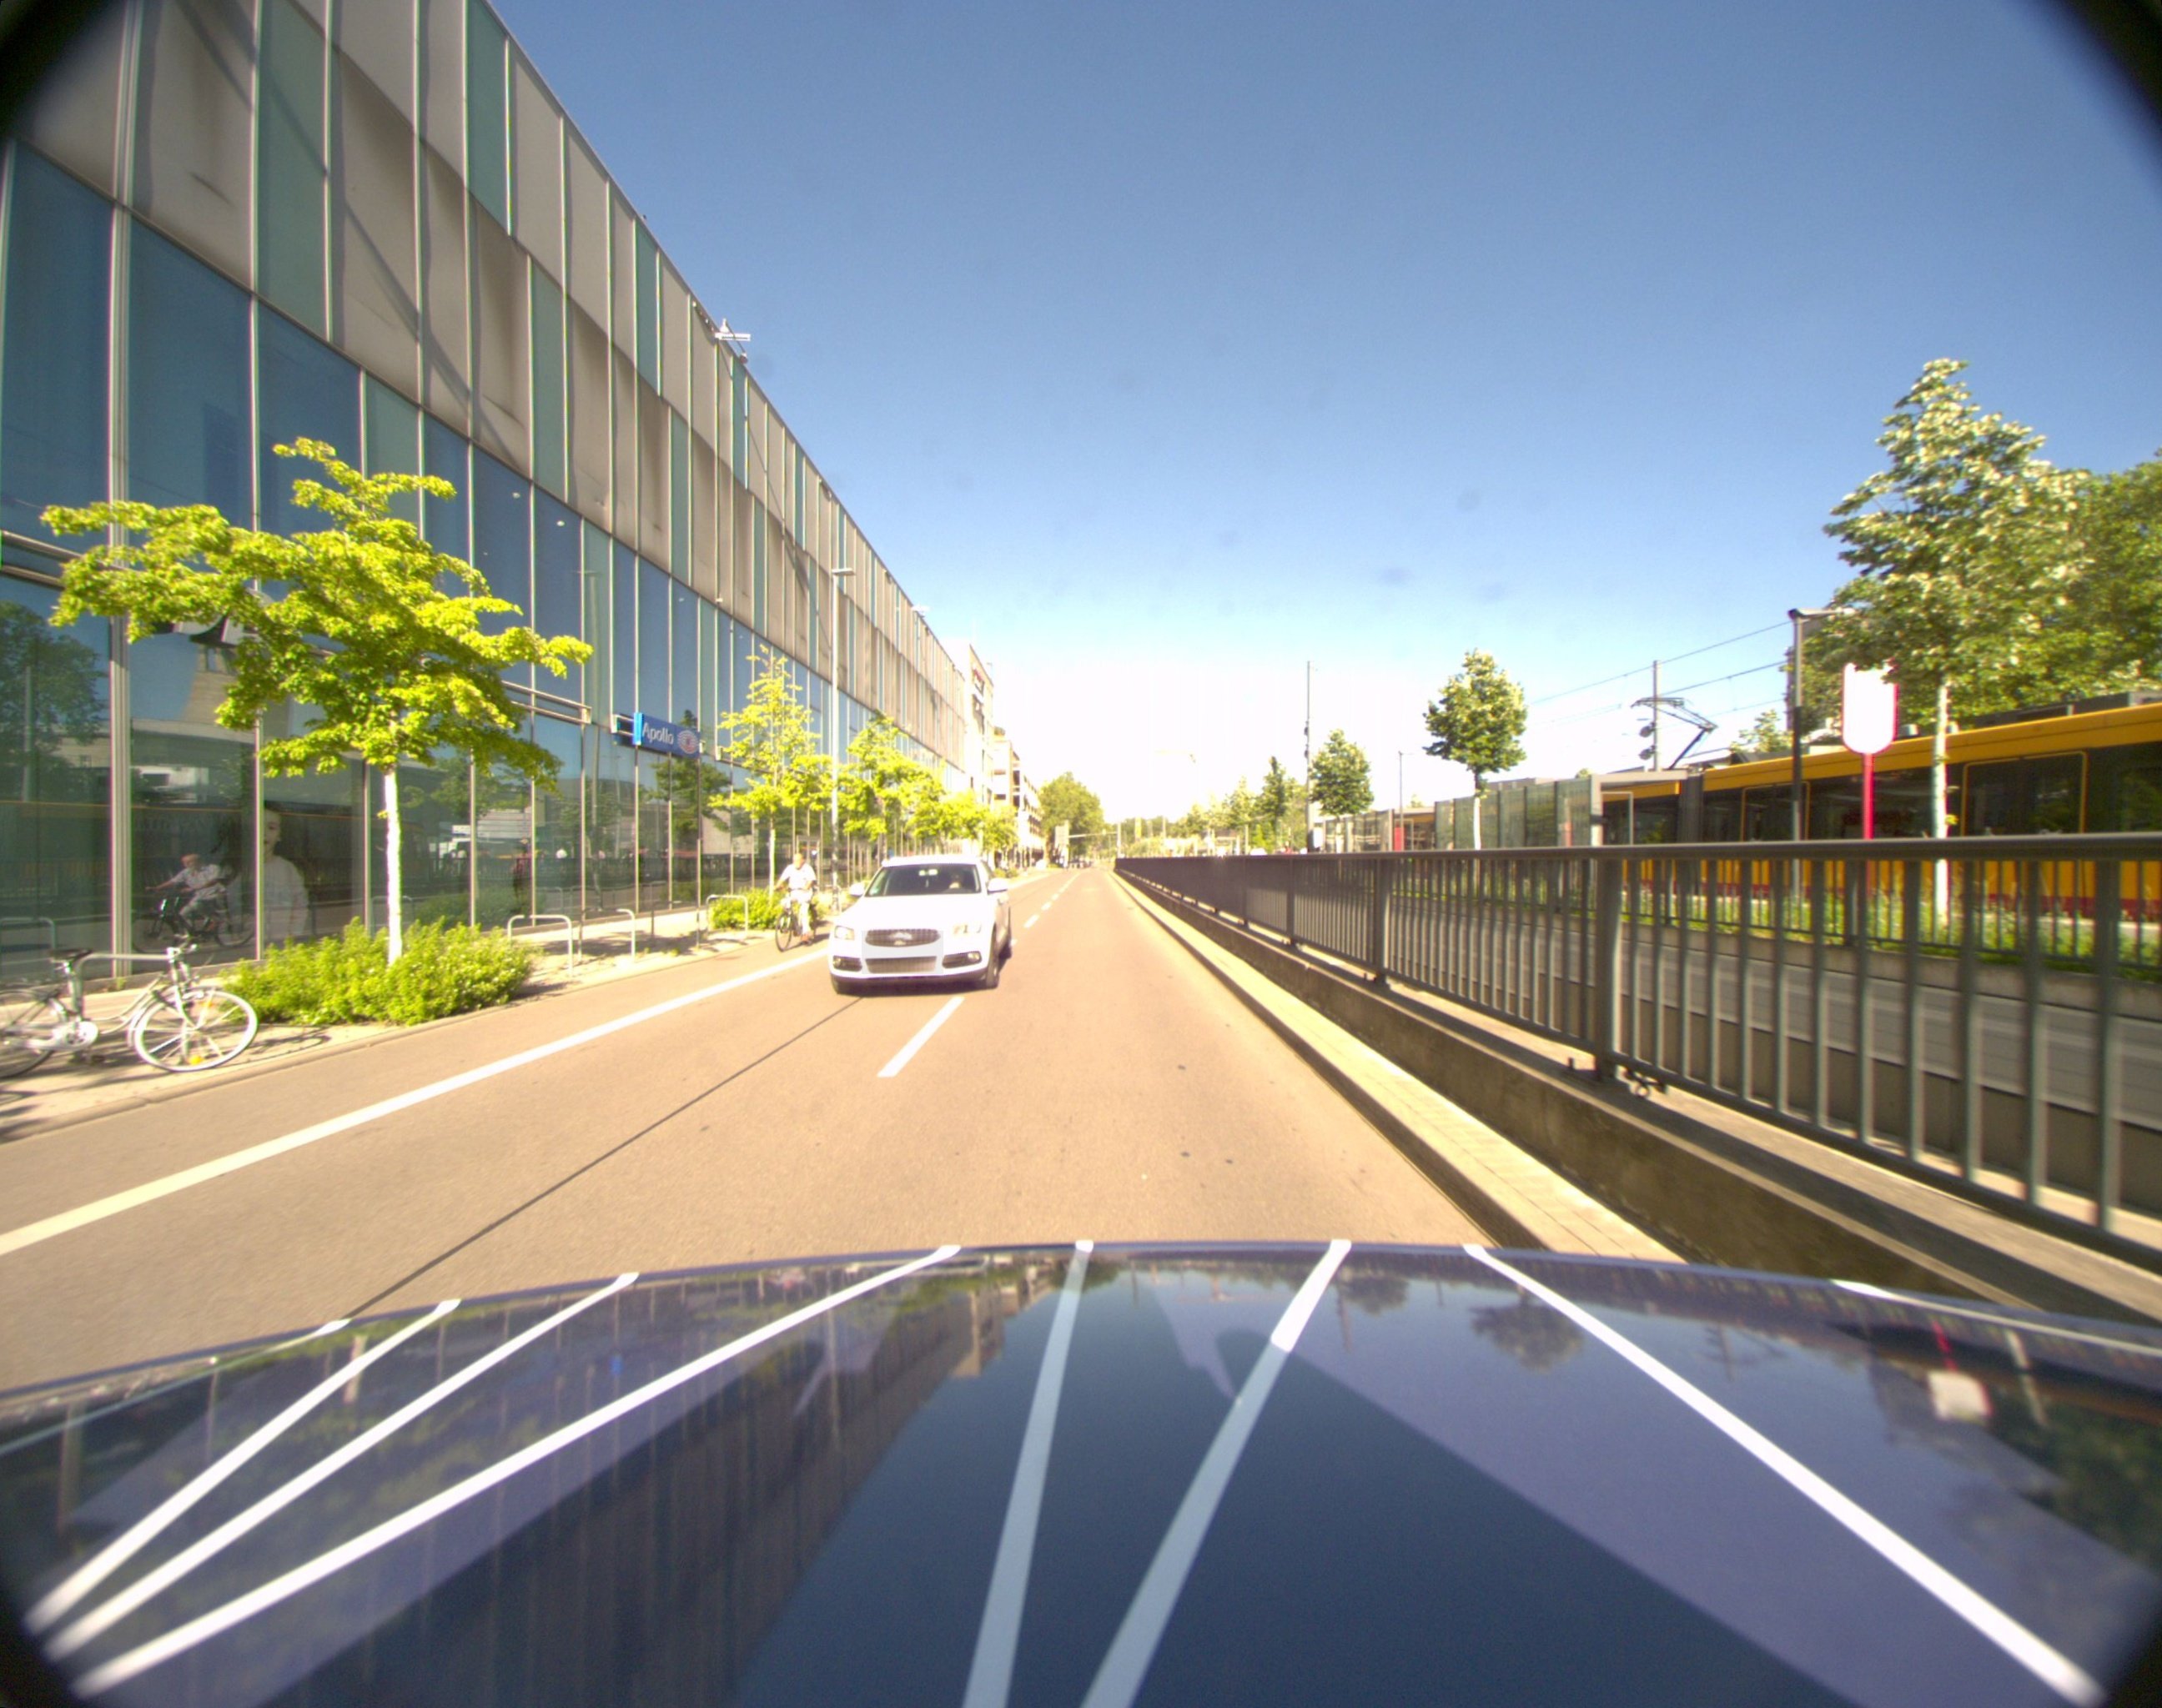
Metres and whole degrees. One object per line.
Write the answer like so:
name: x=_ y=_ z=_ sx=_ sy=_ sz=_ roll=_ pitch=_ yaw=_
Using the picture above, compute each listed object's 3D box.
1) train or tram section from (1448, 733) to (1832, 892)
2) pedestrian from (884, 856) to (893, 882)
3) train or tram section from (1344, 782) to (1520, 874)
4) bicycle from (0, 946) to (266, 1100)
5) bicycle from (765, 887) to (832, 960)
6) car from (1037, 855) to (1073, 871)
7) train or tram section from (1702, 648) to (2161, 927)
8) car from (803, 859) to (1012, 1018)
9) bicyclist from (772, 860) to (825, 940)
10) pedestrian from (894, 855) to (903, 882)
train or tram section: x=15.788 y=-0.976 z=23.688 sx=2.822 sy=3.617 sz=12.789 roll=0 pitch=0 yaw=1
pedestrian: x=-11.736 y=0.903 z=46.363 sx=0.450 sy=1.591 sz=0.287 roll=-1 pitch=1 yaw=1
train or tram section: x=16.098 y=-1.064 z=36.499 sx=2.822 sy=3.617 sz=12.789 roll=0 pitch=0 yaw=1
bicycle: x=-7.497 y=1.258 z=5.793 sx=1.741 sy=1.056 sz=0.467 roll=2 pitch=0 yaw=-15
bicycle: x=-5.270 y=1.257 z=14.282 sx=0.610 sy=1.144 sz=1.986 roll=-2 pitch=1 yaw=-4
car: x=-2.836 y=0.974 z=82.598 sx=3.802 sy=1.527 sz=1.786 roll=-2 pitch=0 yaw=-3
train or tram section: x=15.431 y=-0.861 z=10.894 sx=2.822 sy=3.617 sz=12.789 roll=0 pitch=0 yaw=1
car: x=-2.033 y=0.915 z=10.149 sx=1.934 sy=1.624 sz=3.999 roll=-2 pitch=0 yaw=-2
bicyclist: x=-5.294 y=0.848 z=14.253 sx=0.755 sy=1.454 sz=0.587 roll=-1 pitch=1 yaw=-4
pedestrian: x=-11.167 y=0.881 z=46.560 sx=0.450 sy=1.681 sz=0.345 roll=-1 pitch=1 yaw=1
